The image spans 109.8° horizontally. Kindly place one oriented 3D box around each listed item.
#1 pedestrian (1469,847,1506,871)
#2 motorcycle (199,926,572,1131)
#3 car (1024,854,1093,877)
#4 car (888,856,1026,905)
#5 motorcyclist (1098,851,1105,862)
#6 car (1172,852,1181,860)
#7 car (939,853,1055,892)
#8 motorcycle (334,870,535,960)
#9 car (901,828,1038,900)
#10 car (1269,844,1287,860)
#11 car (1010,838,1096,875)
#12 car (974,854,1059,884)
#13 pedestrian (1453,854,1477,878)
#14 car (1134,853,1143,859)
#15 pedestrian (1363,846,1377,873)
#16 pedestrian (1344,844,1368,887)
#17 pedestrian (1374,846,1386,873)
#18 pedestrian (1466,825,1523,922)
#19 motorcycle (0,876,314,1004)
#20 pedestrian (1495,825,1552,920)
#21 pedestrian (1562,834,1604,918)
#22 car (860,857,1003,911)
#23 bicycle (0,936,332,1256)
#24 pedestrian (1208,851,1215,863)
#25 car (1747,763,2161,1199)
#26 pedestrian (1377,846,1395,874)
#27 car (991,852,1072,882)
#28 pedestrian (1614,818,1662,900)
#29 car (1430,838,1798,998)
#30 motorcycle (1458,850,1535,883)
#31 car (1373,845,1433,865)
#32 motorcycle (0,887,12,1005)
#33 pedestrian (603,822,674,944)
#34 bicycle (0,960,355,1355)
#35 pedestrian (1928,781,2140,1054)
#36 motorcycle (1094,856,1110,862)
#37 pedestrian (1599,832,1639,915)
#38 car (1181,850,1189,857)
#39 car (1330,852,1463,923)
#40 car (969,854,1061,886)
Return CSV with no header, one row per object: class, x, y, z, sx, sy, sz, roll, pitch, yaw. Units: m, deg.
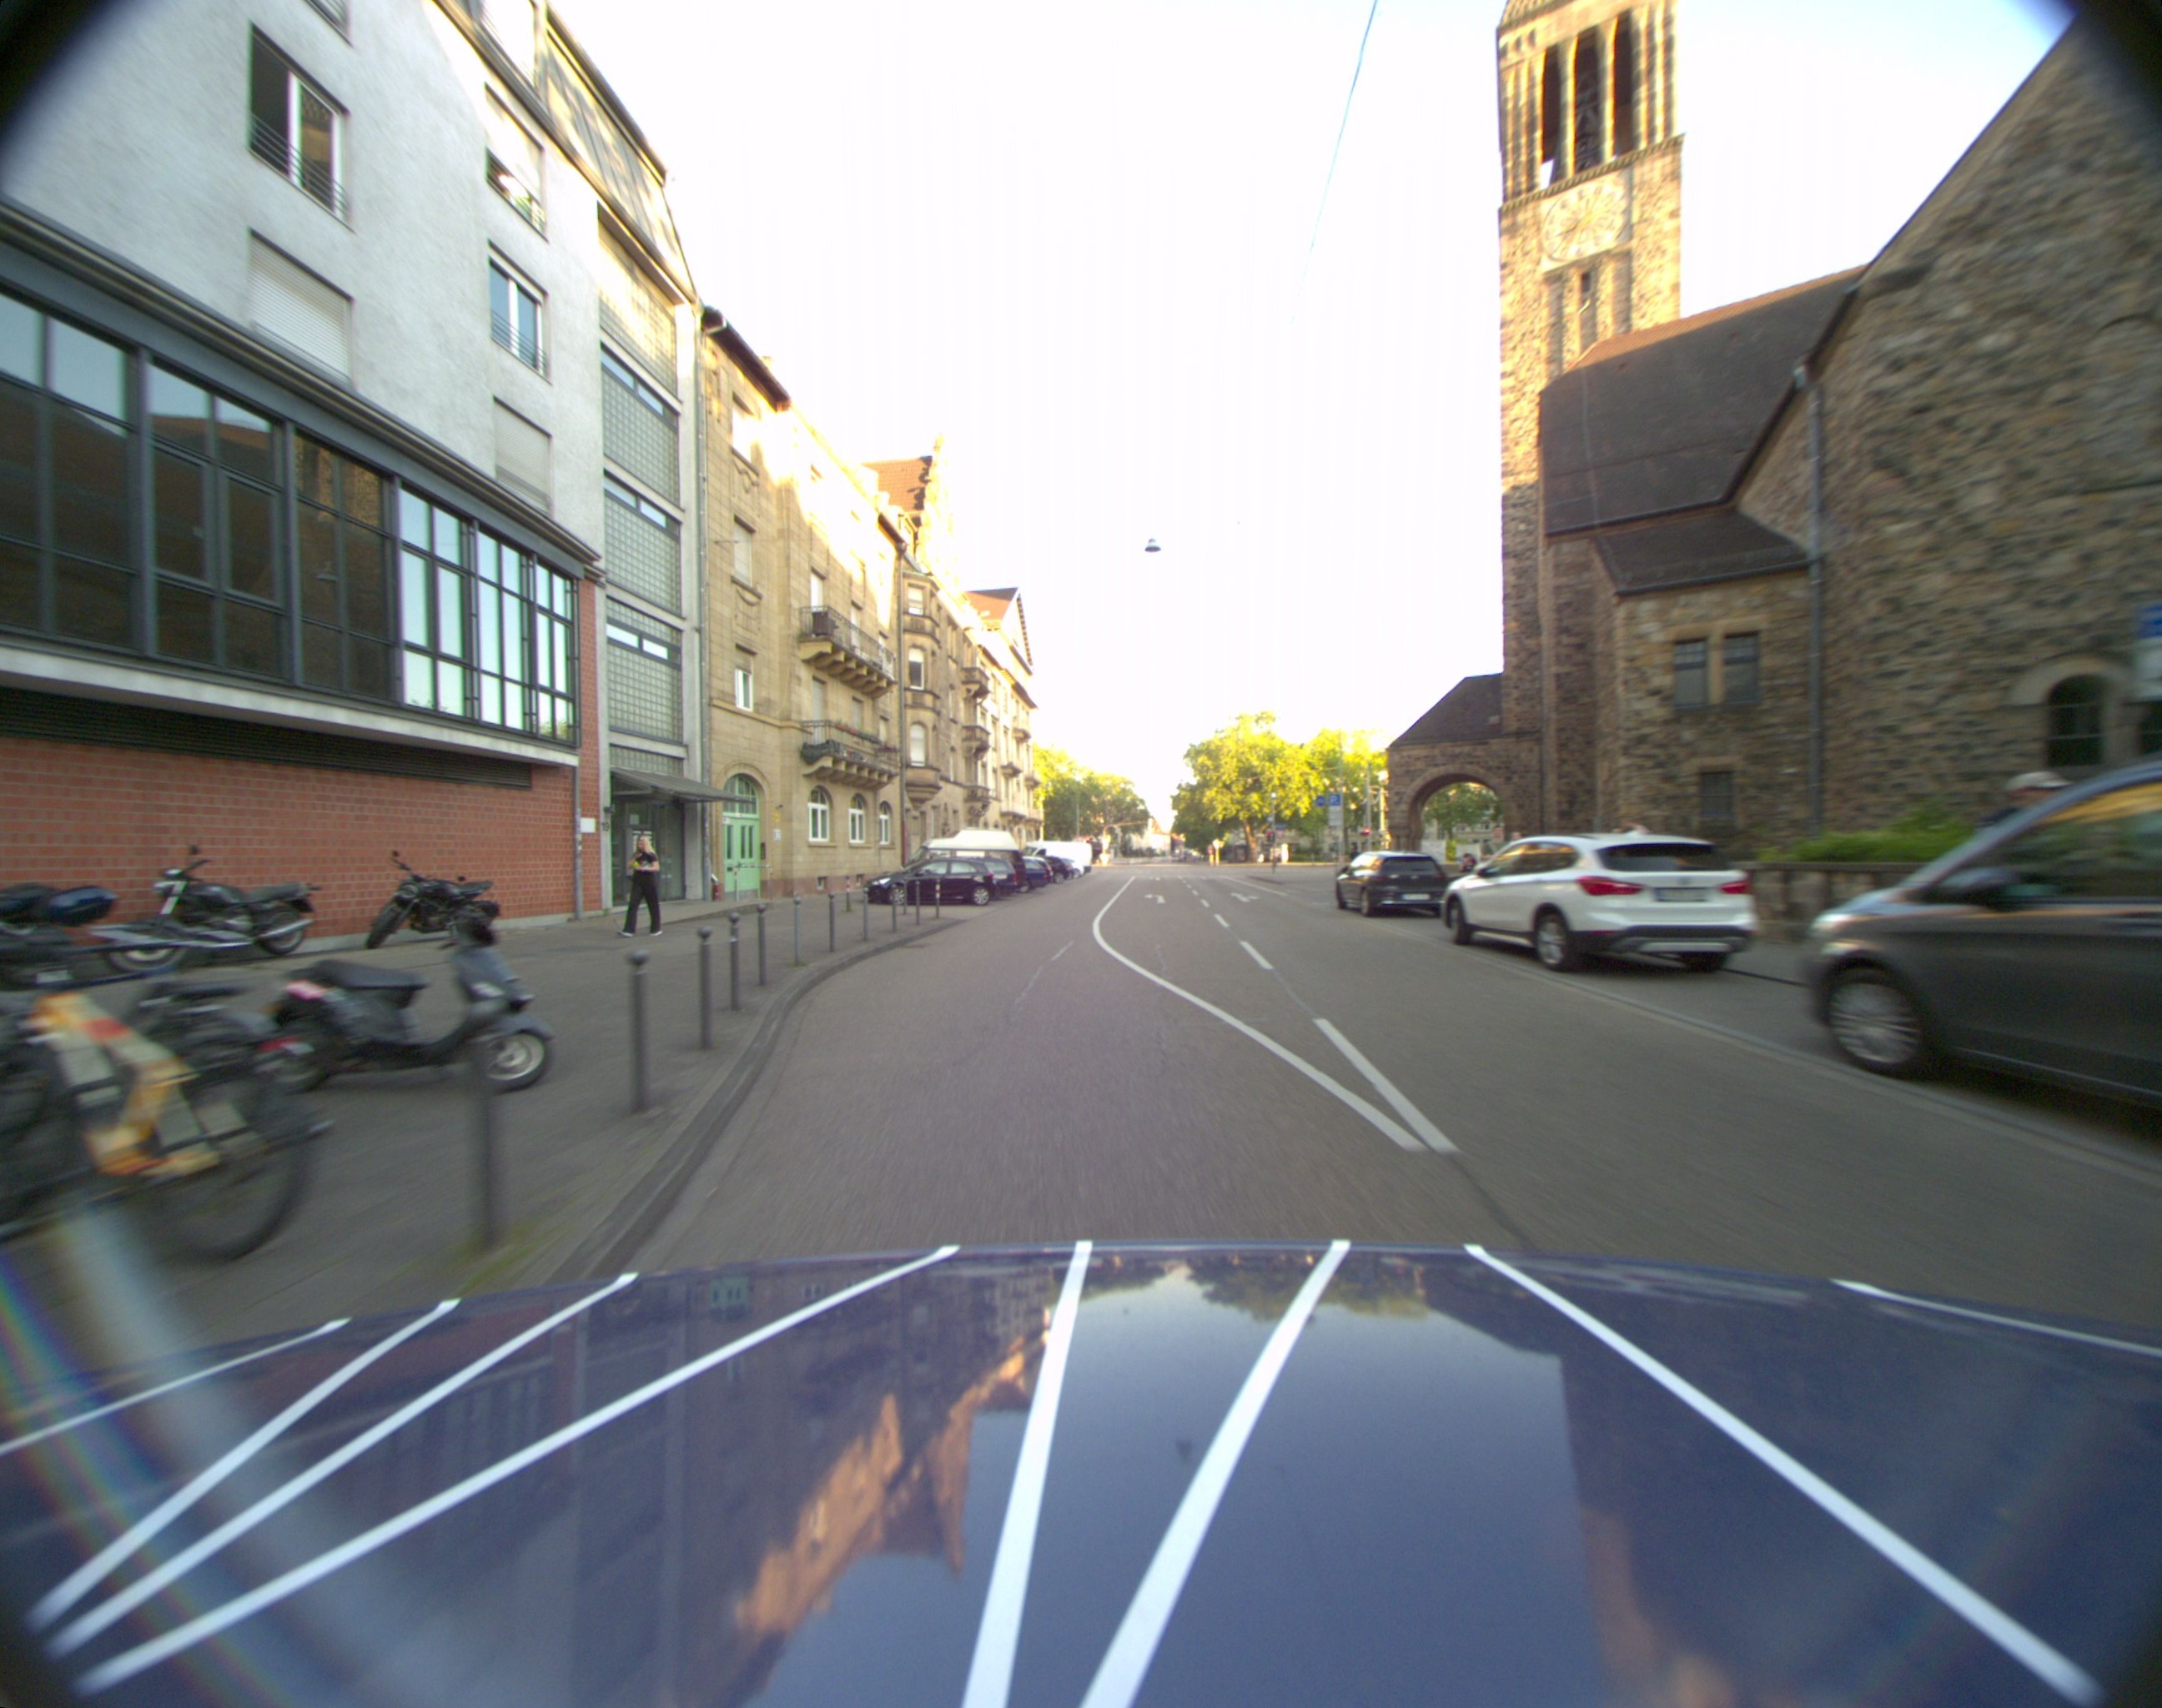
pedestrian,18.630,0.223,34.852,0.686,1.088,1.330,-1,1,-34
motorcycle,-4.198,1.039,4.683,1.649,1.095,0.647,1,1,-3
car,-1.531,0.757,51.779,4.262,1.445,1.995,0,1,-33
car,-4.277,0.871,26.190,4.361,1.494,1.910,-1,1,-22
motorcyclist,2.936,0.300,107.475,0.830,1.511,0.622,-1,1,-20
car,24.310,0.583,193.782,1.990,1.945,4.599,-1,0,9
car,-3.494,0.773,31.590,4.405,1.478,1.840,1,0,-25
motorcycle,-9.654,0.854,11.529,0.801,1.133,2.441,1,0,5
car,-4.200,0.301,28.711,4.731,2.532,1.914,-1,1,-23
car,25.749,-0.318,99.273,1.864,2.002,3.816,-1,0,21
car,-1.975,0.162,54.550,5.896,2.537,2.190,0,2,-35
car,-3.354,0.788,39.742,4.064,1.490,1.750,1,1,-30
pedestrian,16.272,0.499,32.208,0.562,0.986,0.694,-1,1,-28
car,13.947,0.458,183.484,1.793,1.571,4.003,-1,0,9
pedestrian,15.438,0.288,40.598,0.549,1.445,0.559,0,1,41
pedestrian,11.211,0.468,30.983,0.716,1.715,0.691,-1,1,-4
pedestrian,15.869,0.300,40.321,0.401,1.398,0.549,0,1,41
pedestrian,8.266,0.383,15.224,0.648,1.868,0.891,-1,1,3
motorcycle,-10.070,0.864,8.495,0.777,1.133,2.414,1,1,-7
pedestrian,8.900,0.354,15.300,0.574,1.846,0.989,-1,1,3
pedestrian,9.899,0.419,14.994,0.416,1.612,0.547,-2,1,-34
car,-4.656,0.884,23.715,4.075,1.483,1.720,-1,1,-25
bicycle,-4.654,1.027,3.491,1.863,1.139,0.659,2,1,5
pedestrian,17.368,0.409,101.213,0.745,1.619,0.661,-1,1,23
car,5.546,0.523,2.822,1.997,1.855,5.292,-1,0,7
pedestrian,15.599,0.290,38.835,0.702,1.398,0.633,0,1,41
car,-2.766,0.716,42.634,4.106,1.598,1.811,1,1,-32
pedestrian,10.712,0.093,14.628,0.651,1.536,0.586,-1,1,29
car,6.346,0.636,9.832,1.875,1.582,4.470,-1,0,4
motorcycle,15.886,0.474,29.085,2.419,1.119,0.822,-3,0,10
car,25.610,0.058,60.480,3.988,1.549,1.845,-1,0,37
motorcycle,-10.370,0.857,6.099,0.589,1.097,2.084,2,1,3
pedestrian,-7.591,0.484,13.062,0.608,2.002,0.858,3,1,7
bicycle,-3.649,1.015,2.735,1.711,1.169,0.472,1,1,4
pedestrian,7.086,0.445,5.695,0.583,1.894,0.803,-1,1,3
motorcycle,2.960,0.694,107.479,2.287,0.917,0.622,-1,0,-20
pedestrian,10.943,0.388,15.458,0.416,1.665,0.547,-2,1,-34
car,24.275,-0.117,177.210,1.826,1.565,4.003,-1,0,10
car,7.164,0.684,17.740,1.786,1.427,4.318,-1,0,7
car,-3.245,0.784,37.255,4.041,1.423,1.863,1,1,-28
